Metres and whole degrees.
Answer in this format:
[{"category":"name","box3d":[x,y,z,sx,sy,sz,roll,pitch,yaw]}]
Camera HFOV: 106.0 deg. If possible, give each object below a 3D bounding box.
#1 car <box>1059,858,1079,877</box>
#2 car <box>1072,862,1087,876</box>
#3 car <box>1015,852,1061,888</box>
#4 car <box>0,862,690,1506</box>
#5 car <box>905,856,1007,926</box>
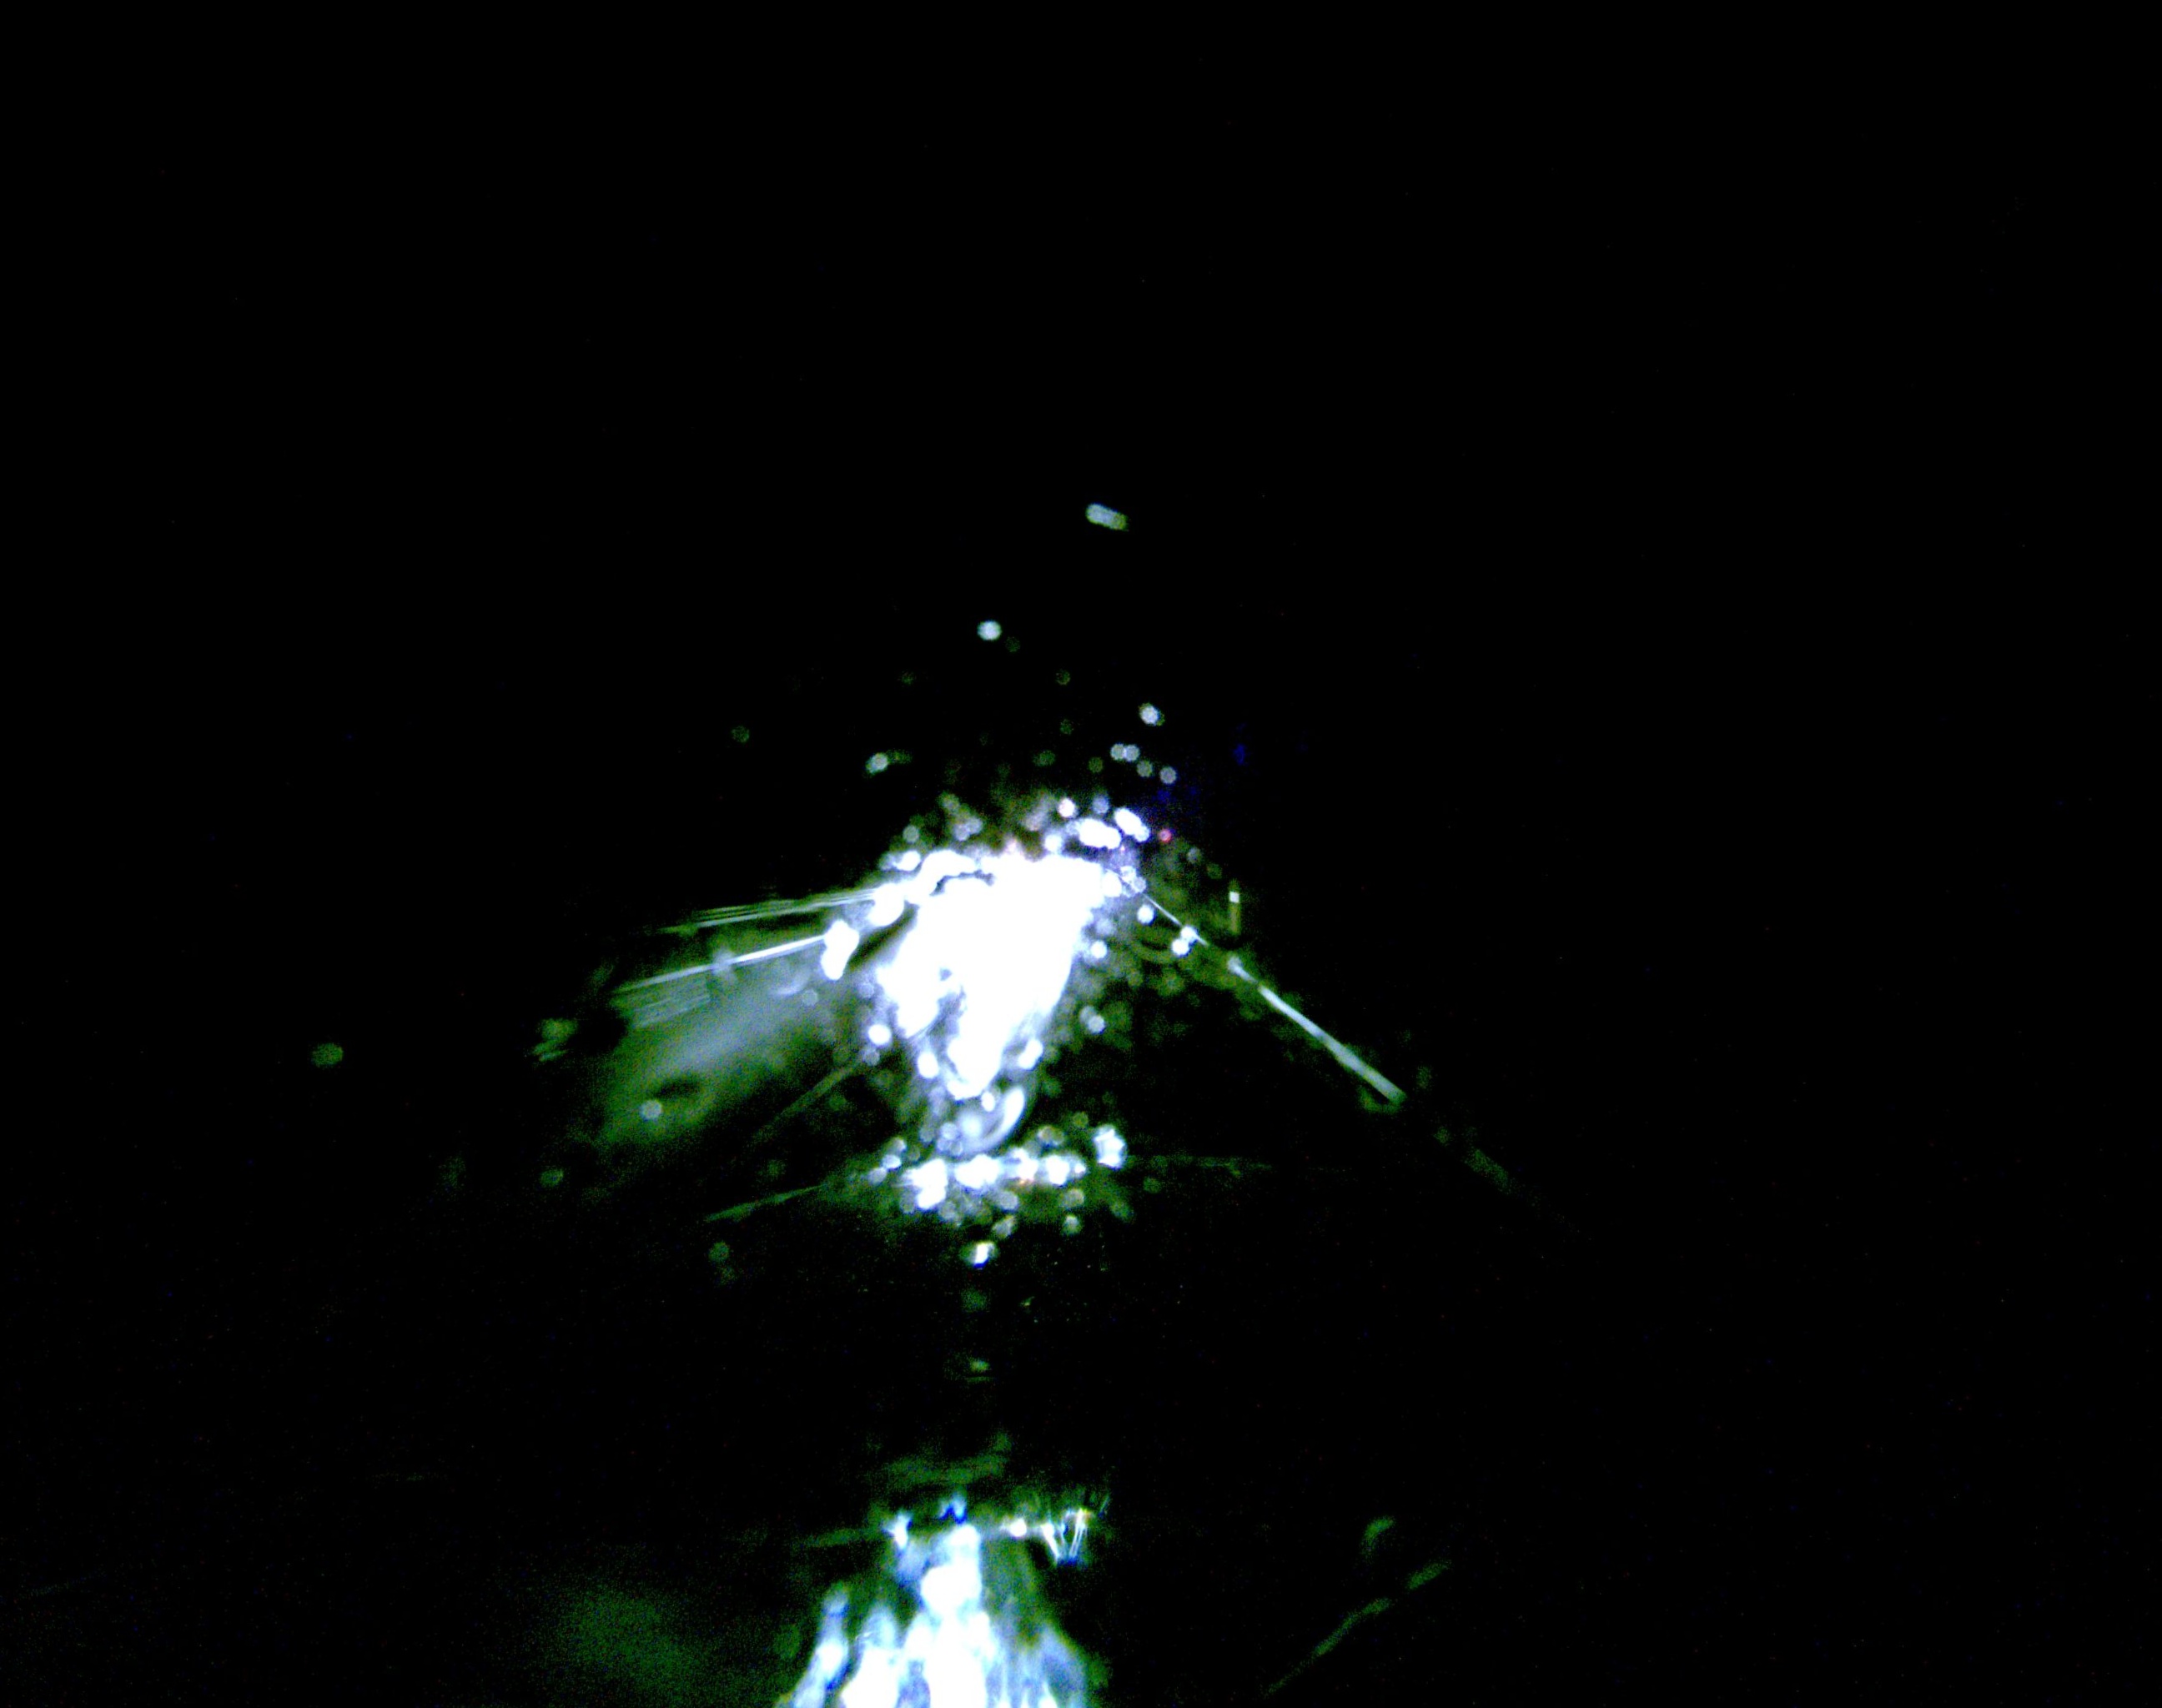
[{"category":"car","box3d":[-1.339,1.527,89.489,1.772,1.880,4.001,-5,-2,3]},{"category":"car","box3d":[-0.242,2.116,115.037,1.772,1.702,4.001,-5,-2,3]},{"category":"car","box3d":[-2.219,0.856,43.085,2.033,1.607,3.998,-5,-2,1]},{"category":"car","box3d":[-3.413,0.827,3.248,1.695,1.467,4.041,-2,0,0]},{"category":"car","box3d":[-3.169,0.896,21.494,1.881,1.635,4.392,0,0,2]}]
